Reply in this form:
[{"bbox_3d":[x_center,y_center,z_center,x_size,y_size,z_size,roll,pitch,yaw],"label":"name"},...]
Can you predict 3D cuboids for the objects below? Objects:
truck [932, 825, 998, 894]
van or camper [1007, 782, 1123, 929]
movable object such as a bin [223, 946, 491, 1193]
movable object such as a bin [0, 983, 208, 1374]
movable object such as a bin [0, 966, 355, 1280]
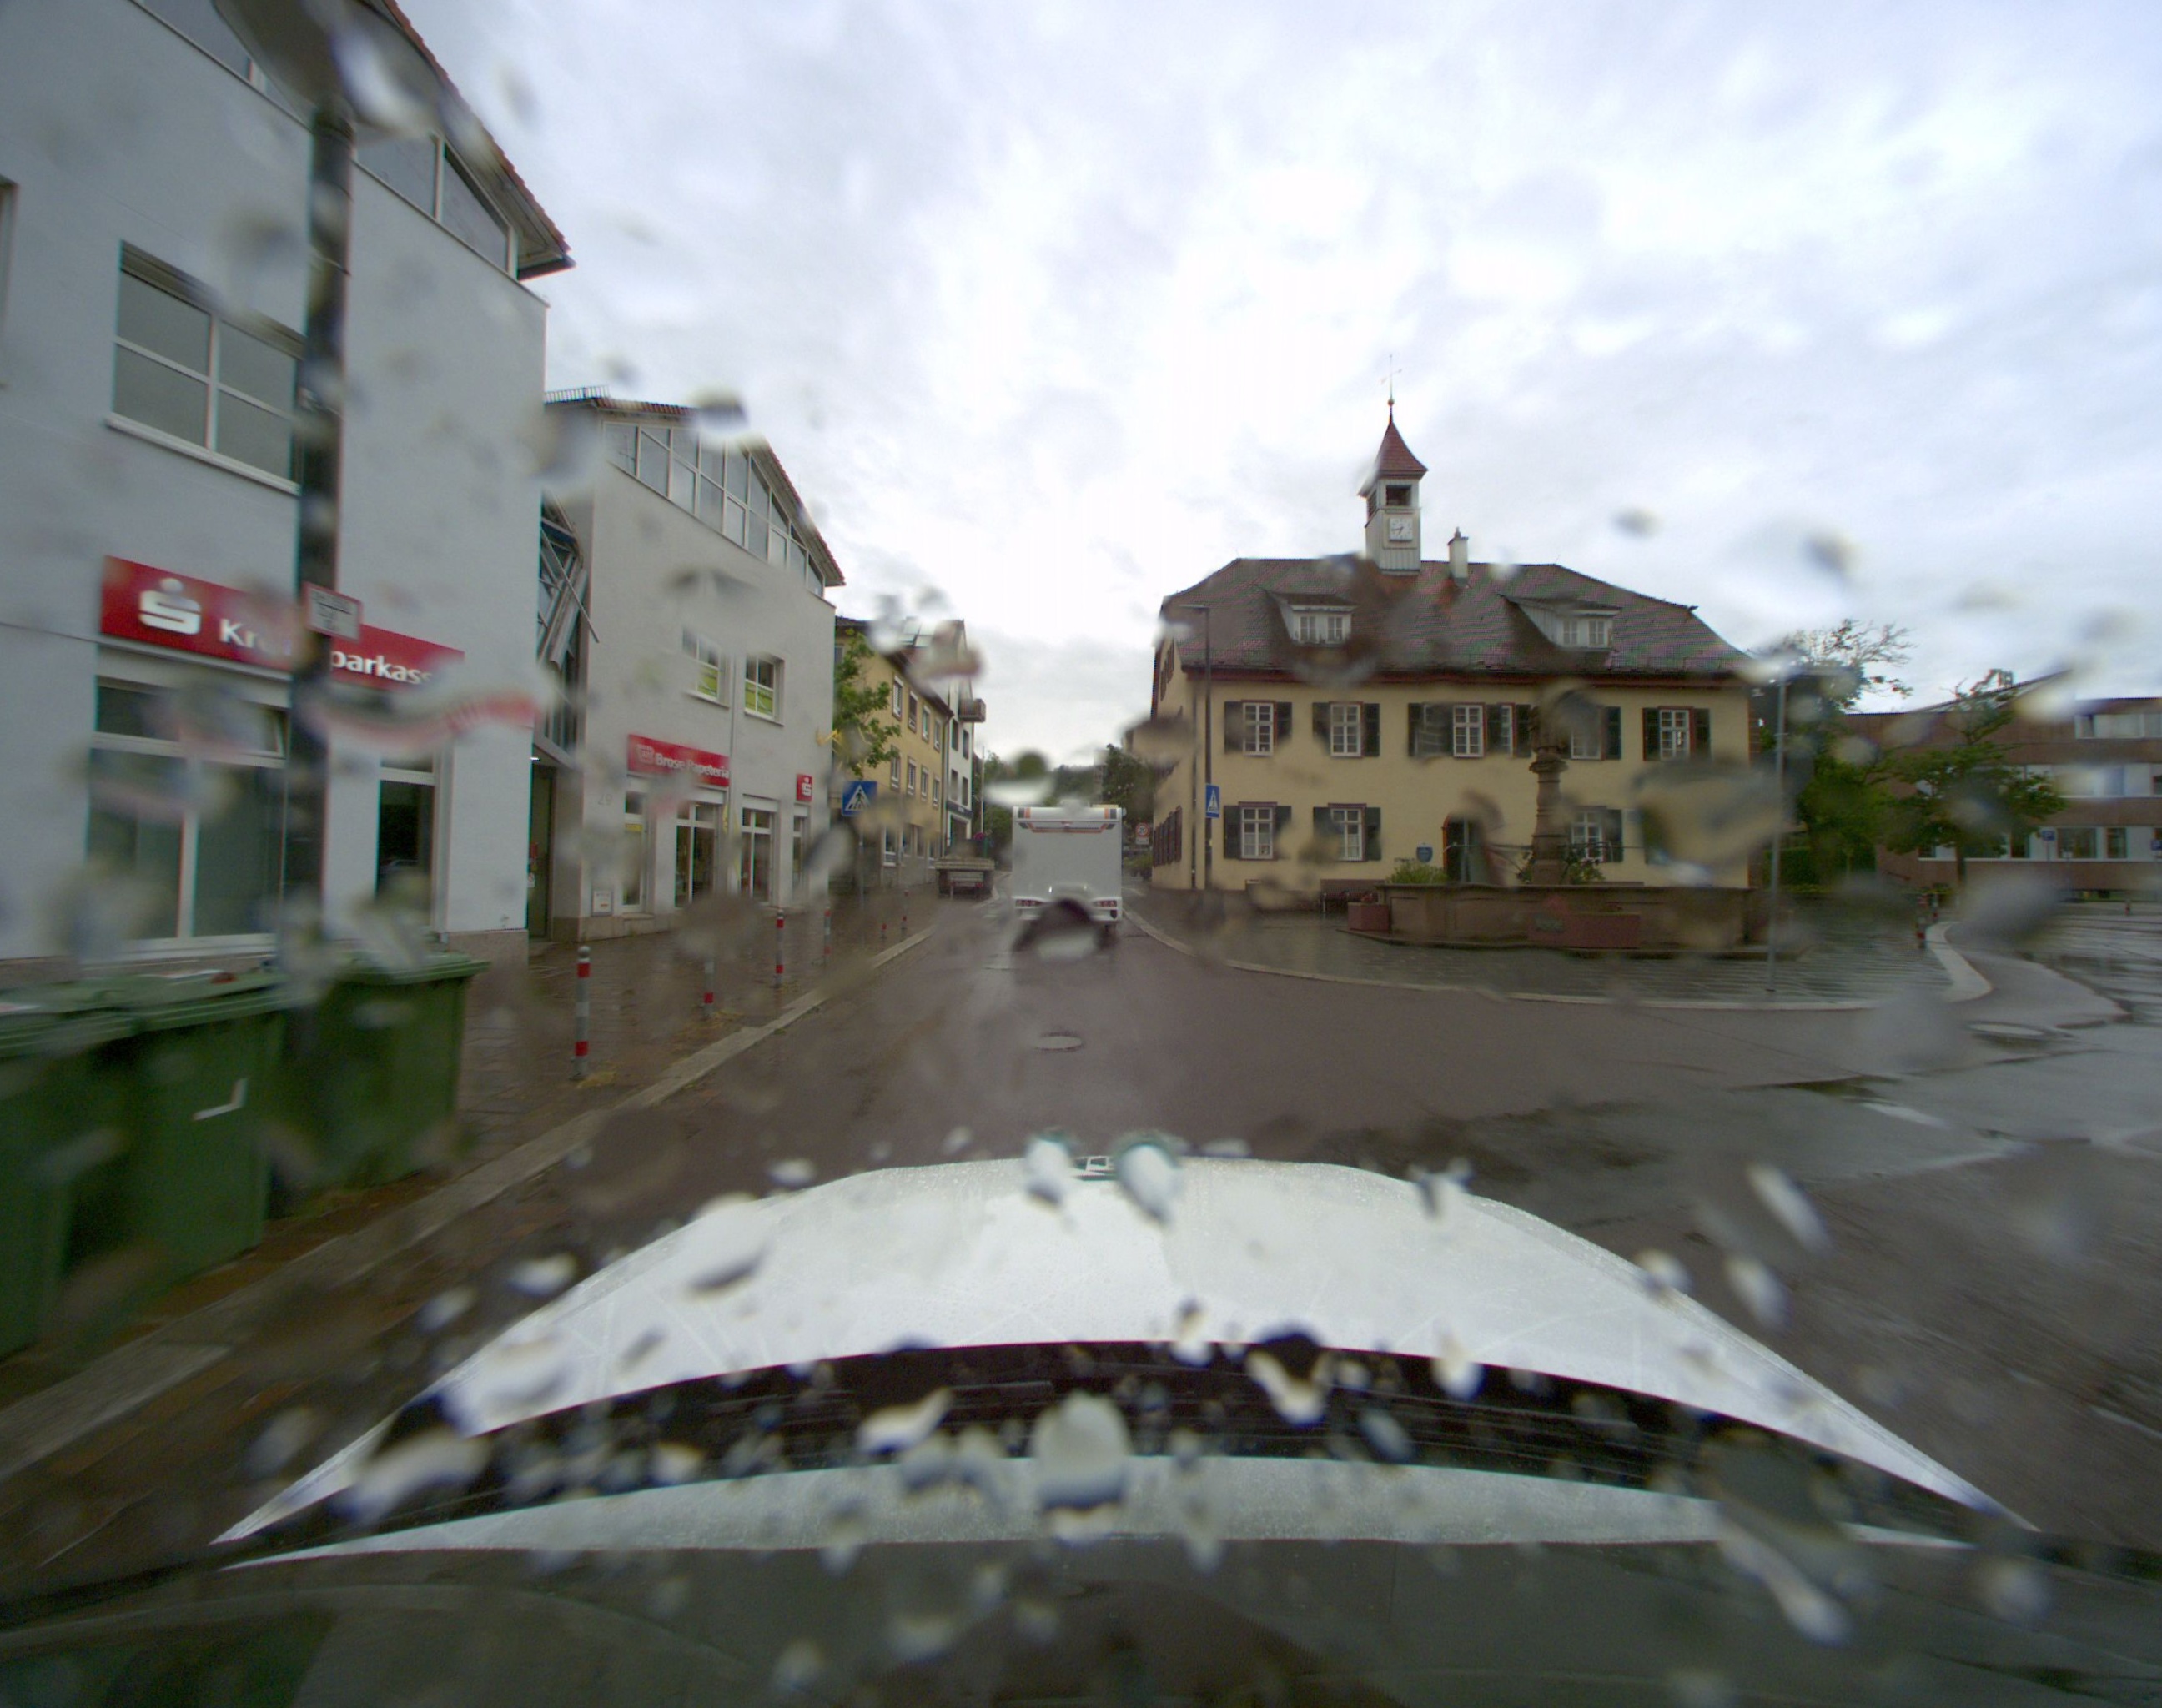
[{"bbox_3d":[-4.928,0.326,35.350,2.275,2.758,5.562,0,-2,-3],"label":"truck"},{"bbox_3d":[-0.475,0.143,19.401,2.321,2.919,6.384,0,-2,-3],"label":"van or camper"},{"bbox_3d":[-3.507,1.014,3.996,0.763,1.051,0.524,2,-2,1],"label":"movable object such as a bin"},{"bbox_3d":[-3.491,0.967,2.500,0.815,1.051,0.700,0,-2,1],"label":"movable object such as a bin"},{"bbox_3d":[-3.459,0.991,3.164,0.763,1.051,0.524,0,-2,0],"label":"movable object such as a bin"}]
